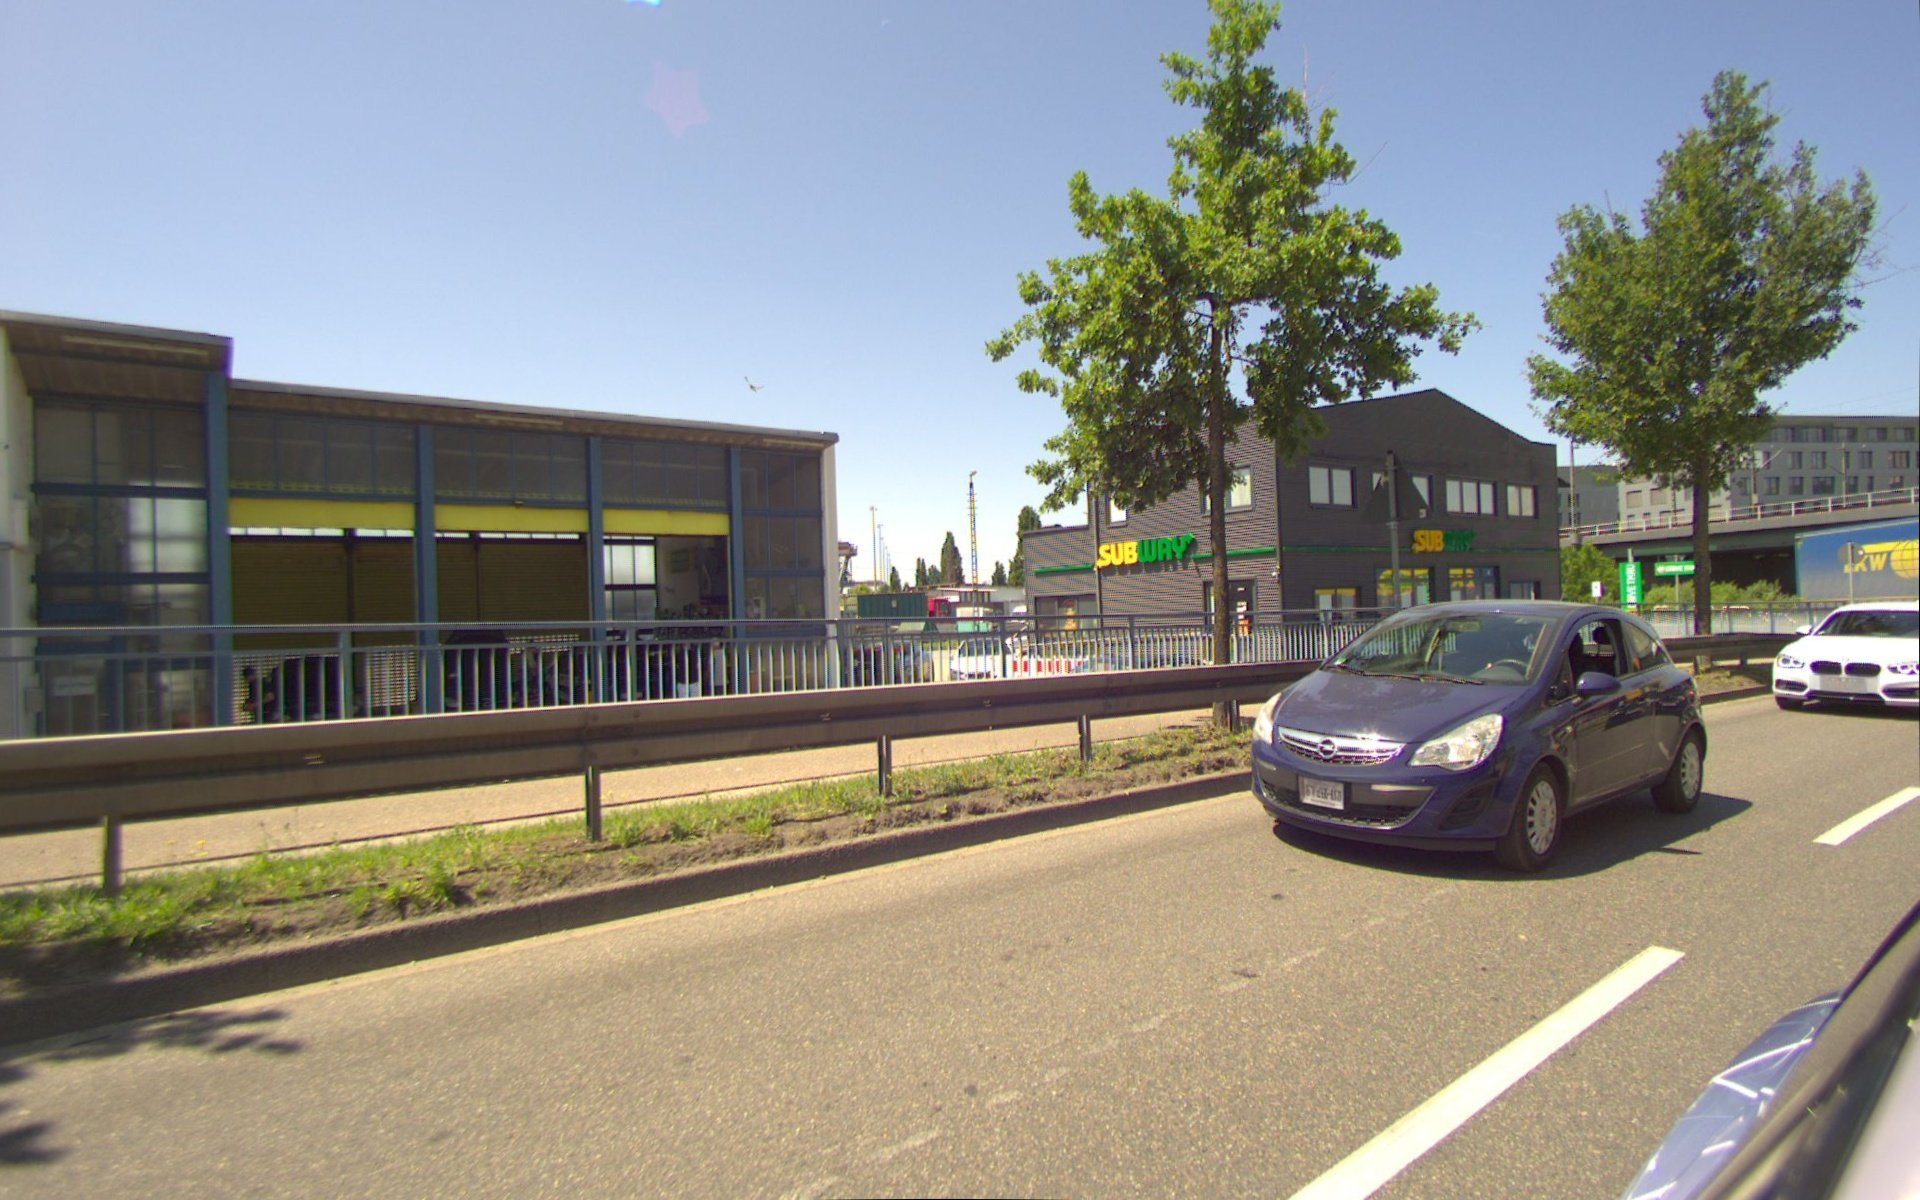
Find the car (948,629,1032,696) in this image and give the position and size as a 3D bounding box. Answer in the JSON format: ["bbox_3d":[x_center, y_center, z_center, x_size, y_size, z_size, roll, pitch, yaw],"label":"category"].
[{"bbox_3d":[0.790,1.568,26.627,1.963,1.375,5.080,-1,0,2],"label":"car"}]

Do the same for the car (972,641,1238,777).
[{"bbox_3d":[2.216,1.497,15.035,3.827,1.551,1.637,-2,0,-36],"label":"car"}]

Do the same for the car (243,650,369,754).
[{"bbox_3d":[-13.233,1.960,20.404,1.622,1.705,3.673,-1,0,-41],"label":"car"}]

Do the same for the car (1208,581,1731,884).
[{"bbox_3d":[3.531,0.634,6.740,3.820,1.462,1.650,0,0,-38],"label":"car"}]

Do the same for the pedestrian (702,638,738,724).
[{"bbox_3d":[-4.984,1.669,21.008,0.579,1.724,0.427,-1,0,-37],"label":"pedestrian"}]

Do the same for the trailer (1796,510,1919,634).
[{"bbox_3d":[33.069,-0.977,32.720,2.459,4.142,13.865,-2,-1,9],"label":"trailer"}]

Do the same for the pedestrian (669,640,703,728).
[{"bbox_3d":[-5.572,1.700,20.587,0.479,1.724,0.523,-1,0,-36],"label":"pedestrian"}]

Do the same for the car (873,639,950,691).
[{"bbox_3d":[-1.365,1.871,29.749,1.456,1.269,3.602,-1,0,10],"label":"car"}]

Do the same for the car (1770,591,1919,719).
[{"bbox_3d":[12.802,0.647,13.707,3.975,1.461,1.764,-1,2,-34],"label":"car"}]

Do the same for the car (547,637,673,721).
[{"bbox_3d":[-8.470,1.823,24.364,1.622,1.705,3.673,-1,0,-40],"label":"car"}]
